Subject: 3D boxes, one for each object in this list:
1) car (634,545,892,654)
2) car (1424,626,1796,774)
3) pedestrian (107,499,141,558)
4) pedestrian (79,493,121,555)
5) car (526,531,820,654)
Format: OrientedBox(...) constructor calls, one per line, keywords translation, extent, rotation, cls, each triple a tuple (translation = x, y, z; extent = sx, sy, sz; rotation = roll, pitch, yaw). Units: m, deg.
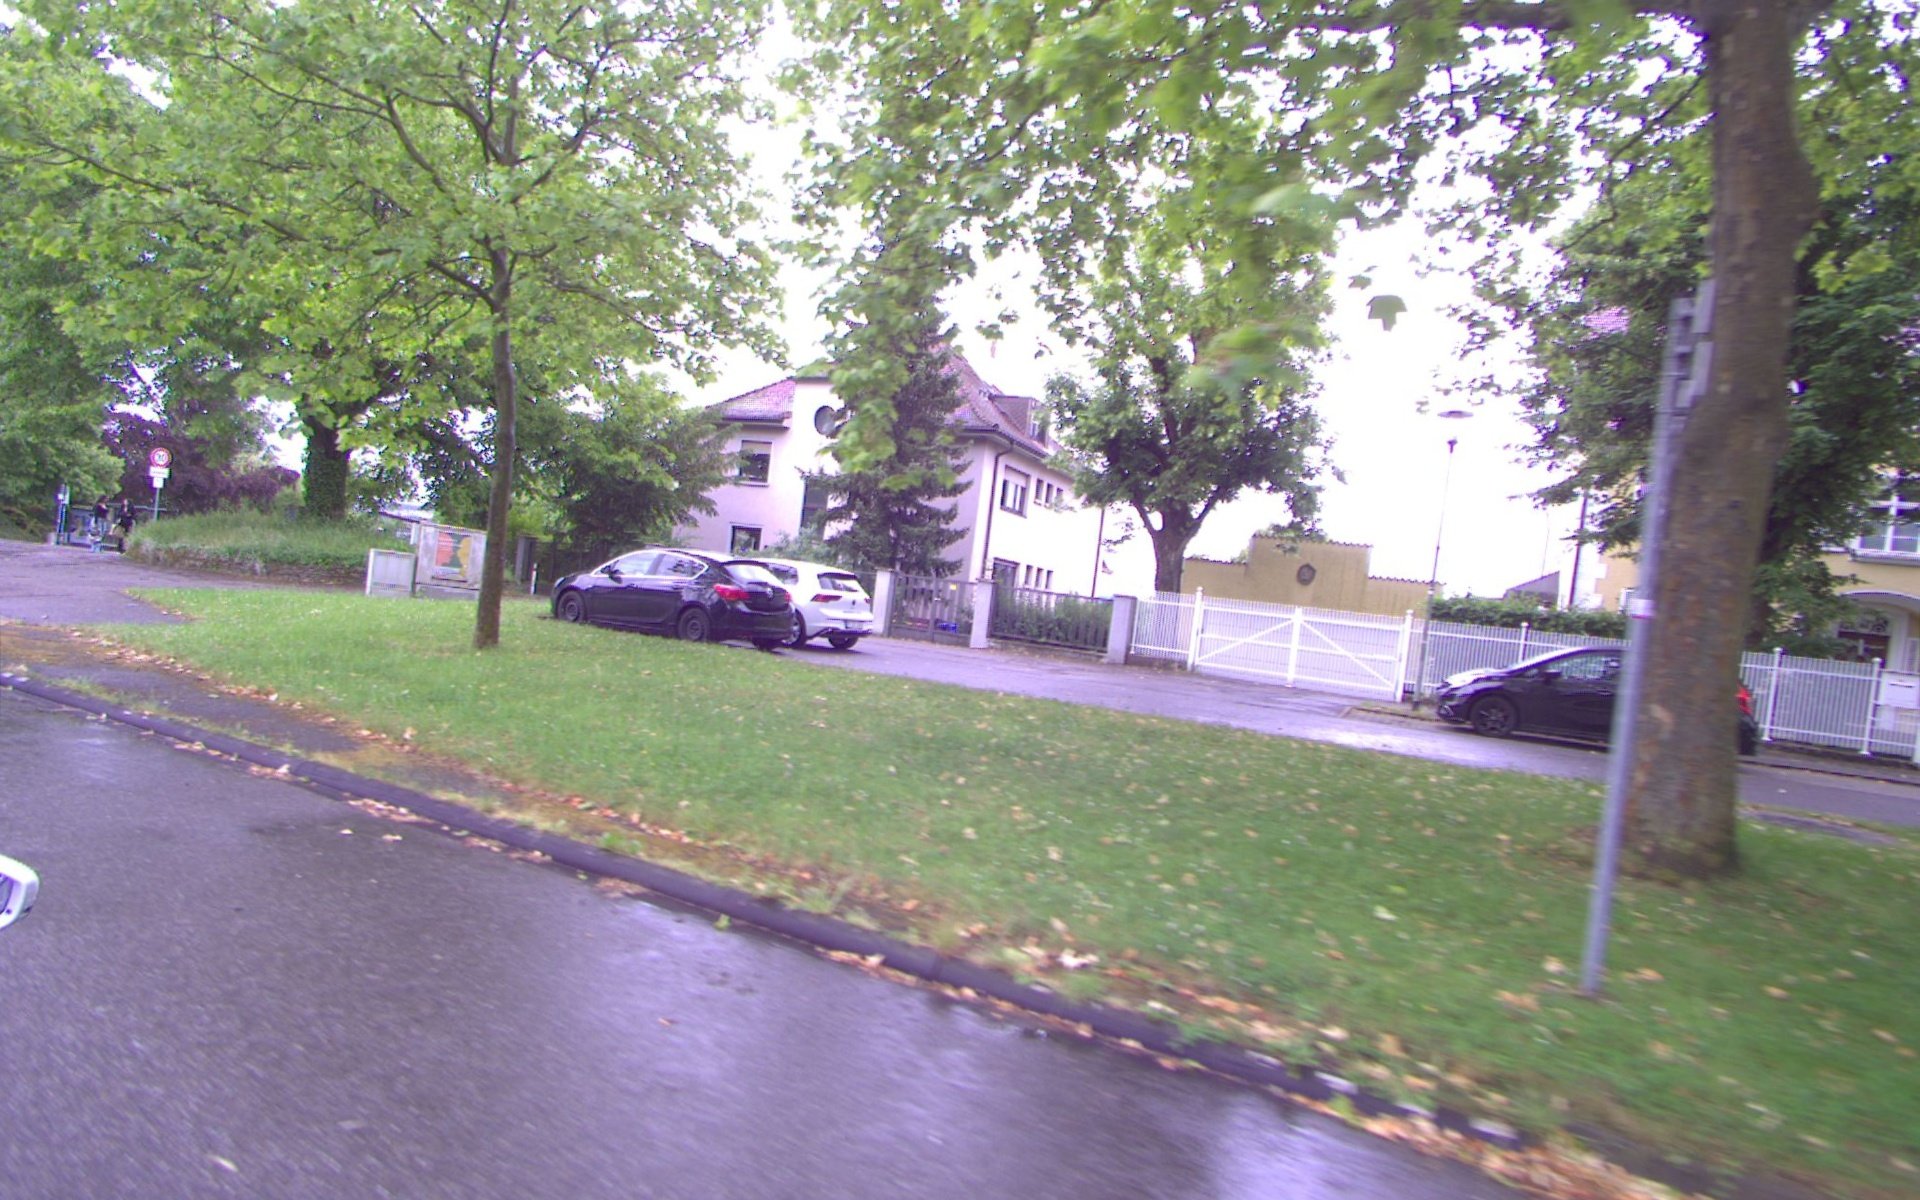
OrientedBox(translation=(-3.604, -0.026, 18.238), extent=(4.350, 1.490, 1.847), rotation=(6, 1, 29), cls="car")
OrientedBox(translation=(9.285, 1.414, 14.843), extent=(4.280, 1.487, 1.766), rotation=(6, -3, 27), cls="car")
OrientedBox(translation=(-25.897, -2.207, 31.170), extent=(0.632, 1.733, 0.523), rotation=(7, -1, -43), cls="pedestrian")
OrientedBox(translation=(-25.656, -2.257, 30.019), extent=(0.624, 1.733, 0.530), rotation=(6, -1, 17), cls="pedestrian")
OrientedBox(translation=(-4.611, -0.151, 15.979), extent=(4.520, 1.490, 1.765), rotation=(6, 2, 30), cls="car")
